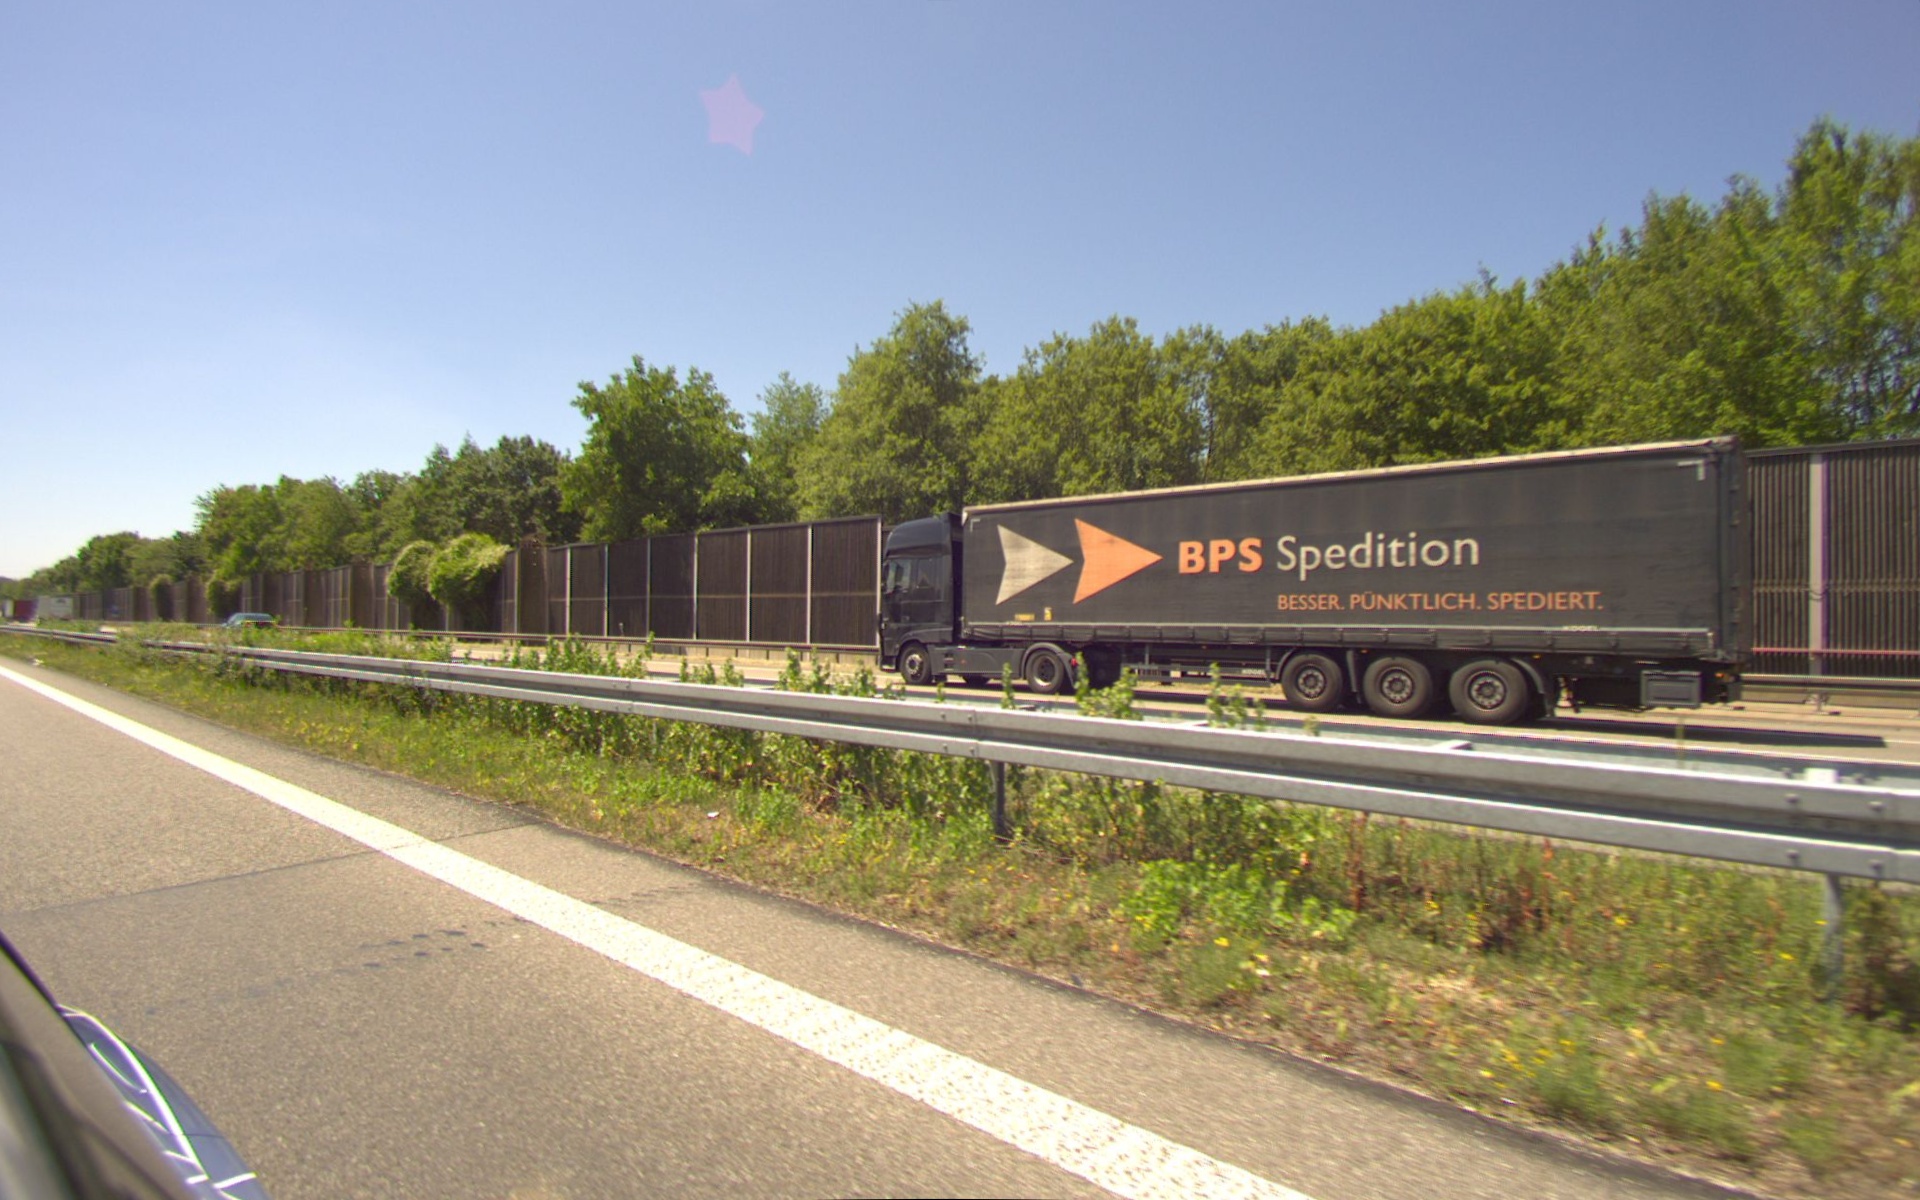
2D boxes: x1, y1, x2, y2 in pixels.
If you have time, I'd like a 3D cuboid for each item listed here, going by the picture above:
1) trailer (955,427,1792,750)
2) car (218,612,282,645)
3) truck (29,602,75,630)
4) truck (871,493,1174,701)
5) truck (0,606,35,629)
[{"bbox_3d":[6.081,-0.009,18.423,13.872,4.039,3.084,-1,-3,42],"label":"trailer"},{"bbox_3d":[-36.118,1.413,51.466,4.001,1.586,1.974,-1,-1,44],"label":"car"},{"bbox_3d":[-126.556,2.234,141.036,10.964,3.711,3.511,-1,0,41],"label":"truck"},{"bbox_3d":[1.278,0.043,22.777,6.188,4.039,3.060,-1,-3,41],"label":"truck"},{"bbox_3d":[-167.950,3.019,179.781,11.437,3.874,3.999,-1,0,41],"label":"truck"}]
